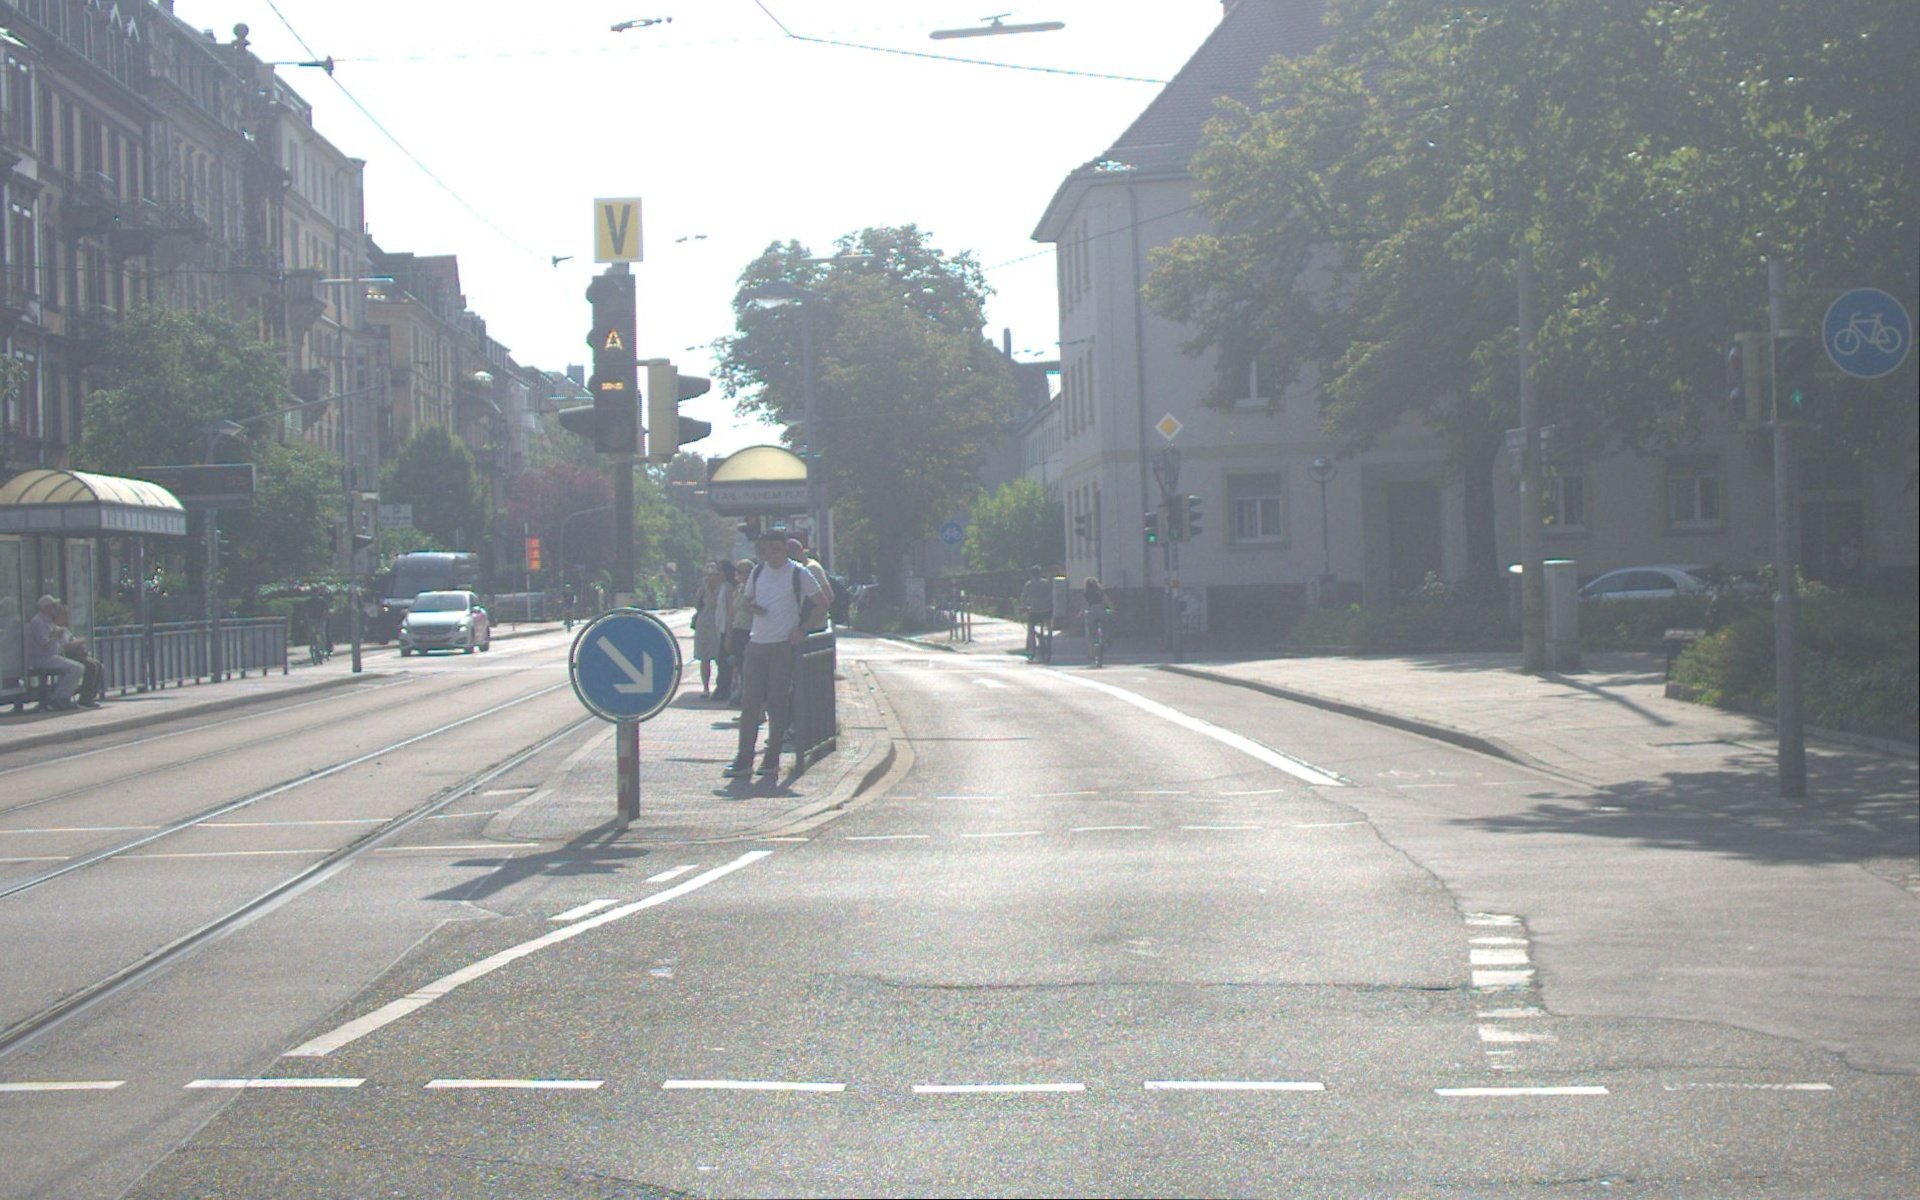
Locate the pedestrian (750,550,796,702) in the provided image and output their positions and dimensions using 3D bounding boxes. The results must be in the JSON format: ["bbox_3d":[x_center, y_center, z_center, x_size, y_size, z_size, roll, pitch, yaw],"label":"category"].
[{"bbox_3d":[-2.201,0.304,40.456,0.504,1.753,0.534,1,3,-1],"label":"pedestrian"}]

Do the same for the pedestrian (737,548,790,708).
[{"bbox_3d":[-2.197,0.311,38.457,0.543,1.753,0.534,1,3,-1],"label":"pedestrian"}]

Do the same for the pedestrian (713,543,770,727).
[{"bbox_3d":[-2.135,0.337,33.640,0.504,1.753,0.534,1,3,-1],"label":"pedestrian"}]

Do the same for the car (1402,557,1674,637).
[{"bbox_3d":[10.310,-0.040,61.469,4.331,1.316,1.996,-1,1,38],"label":"car"}]

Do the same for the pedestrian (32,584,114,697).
[{"bbox_3d":[-10.865,0.493,42.140,0.827,1.354,0.776,-2,0,-6],"label":"pedestrian"}]

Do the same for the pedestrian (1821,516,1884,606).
[{"bbox_3d":[17.426,-0.756,67.120,0.893,1.734,0.774,-1,0,44],"label":"pedestrian"}]

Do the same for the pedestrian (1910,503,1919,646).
[{"bbox_3d":[12.116,-0.325,42.029,0.892,1.734,0.775,-1,0,18],"label":"pedestrian"}]

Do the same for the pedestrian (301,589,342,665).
[{"bbox_3d":[-14.729,0.620,79.322,0.750,1.725,0.771,-2,0,1],"label":"pedestrian"}]

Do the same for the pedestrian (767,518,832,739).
[{"bbox_3d":[-1.352,0.233,28.947,0.504,1.827,0.534,1,3,-1],"label":"pedestrian"}]

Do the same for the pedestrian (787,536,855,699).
[{"bbox_3d":[-1.528,0.188,37.846,0.709,1.753,0.534,1,3,-1],"label":"pedestrian"}]

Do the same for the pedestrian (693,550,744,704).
[{"bbox_3d":[-2.797,0.308,39.866,0.532,1.753,0.545,1,3,0],"label":"pedestrian"}]

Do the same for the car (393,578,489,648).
[{"bbox_3d":[-12.815,0.299,85.059,1.801,1.648,3.642,-2,0,-1],"label":"car"}]

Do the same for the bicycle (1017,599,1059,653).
[{"bbox_3d":[1.482,0.493,65.527,0.629,0.974,1.770,-2,1,-3],"label":"bicycle"}]

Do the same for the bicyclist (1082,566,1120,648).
[{"bbox_3d":[2.488,0.120,60.806,0.558,1.412,0.872,-2,1,-3],"label":"bicyclist"}]

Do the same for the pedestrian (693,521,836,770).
[{"bbox_3d":[-1.398,0.310,24.680,0.701,1.719,0.747,3,3,31],"label":"pedestrian"}]

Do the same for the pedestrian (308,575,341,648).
[{"bbox_3d":[-15.319,0.283,82.873,0.750,1.725,0.772,-2,0,-10],"label":"pedestrian"}]

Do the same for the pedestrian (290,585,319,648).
[{"bbox_3d":[-18.358,0.453,96.292,0.750,1.725,0.772,-2,0,-10],"label":"pedestrian"}]

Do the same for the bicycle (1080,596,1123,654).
[{"bbox_3d":[2.503,0.427,60.794,0.558,0.974,1.856,-2,1,-3],"label":"bicycle"}]

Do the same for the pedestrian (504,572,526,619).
[{"bbox_3d":[-16.834,-0.173,130.133,0.750,1.725,0.772,-2,0,-10],"label":"pedestrian"}]

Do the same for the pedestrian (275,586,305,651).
[{"bbox_3d":[-18.161,0.490,93.148,0.750,1.725,0.772,-2,0,-10],"label":"pedestrian"}]

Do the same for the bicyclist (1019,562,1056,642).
[{"bbox_3d":[1.475,0.028,65.522,0.629,1.502,0.678,-2,0,-3],"label":"bicyclist"}]

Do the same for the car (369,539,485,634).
[{"bbox_3d":[-15.542,-0.402,100.512,2.347,2.653,5.104,-2,0,2],"label":"car"}]

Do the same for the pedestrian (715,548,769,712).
[{"bbox_3d":[-2.386,0.324,37.645,0.543,1.753,0.534,1,3,-1],"label":"pedestrian"}]

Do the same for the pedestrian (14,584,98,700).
[{"bbox_3d":[-10.814,0.497,41.164,0.827,1.354,0.776,-2,0,-6],"label":"pedestrian"}]

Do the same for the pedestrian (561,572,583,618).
[{"bbox_3d":[-14.749,-0.196,130.649,0.750,1.725,0.772,-2,0,-10],"label":"pedestrian"}]
